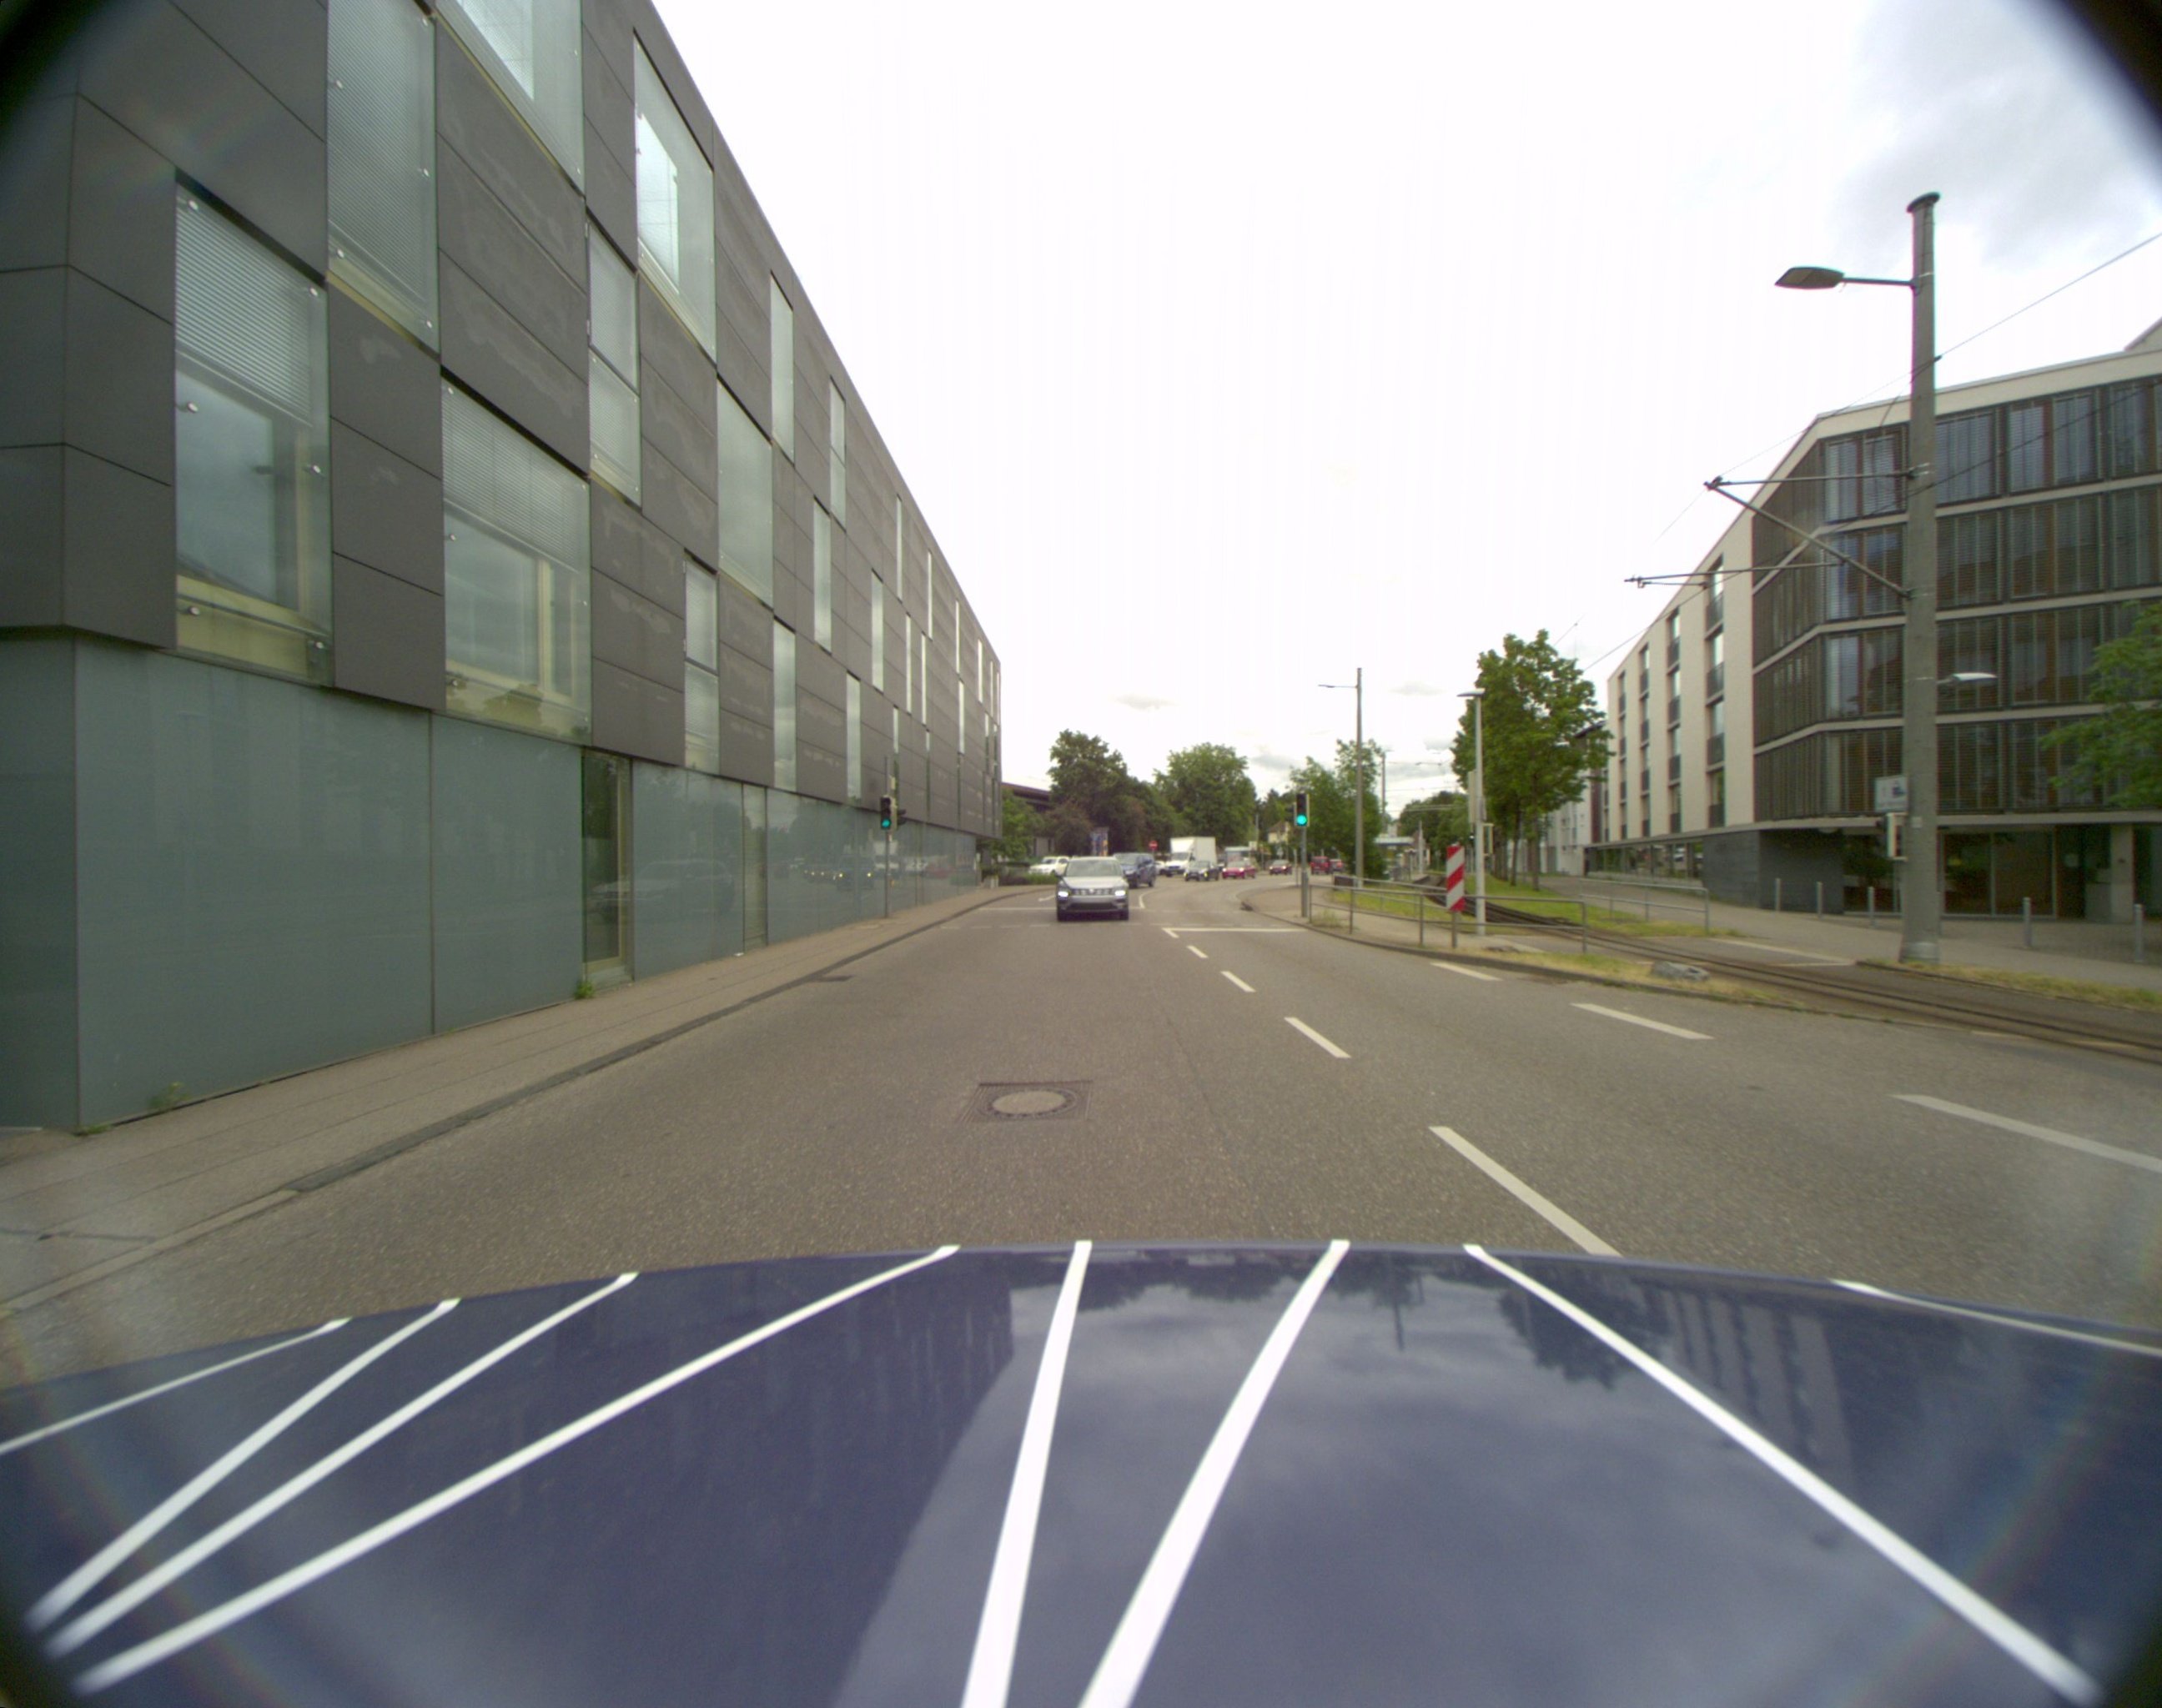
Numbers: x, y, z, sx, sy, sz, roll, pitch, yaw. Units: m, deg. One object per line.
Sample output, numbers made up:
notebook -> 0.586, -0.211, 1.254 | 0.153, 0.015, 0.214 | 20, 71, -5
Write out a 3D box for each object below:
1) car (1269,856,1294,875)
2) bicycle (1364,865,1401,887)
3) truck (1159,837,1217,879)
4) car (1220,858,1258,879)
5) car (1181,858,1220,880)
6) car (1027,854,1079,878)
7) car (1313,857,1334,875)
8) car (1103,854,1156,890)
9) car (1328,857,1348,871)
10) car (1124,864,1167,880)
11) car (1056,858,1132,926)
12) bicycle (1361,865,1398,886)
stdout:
car -> 20.436, 1.158, 77.488 | 1.846, 1.850, 4.265 | 0, 0, 23
bicycle -> 15.728, 1.132, 39.619 | 1.707, 1.082, 0.408 | -2, -1, 15
truck -> 9.412, 0.309, 66.038 | 2.536, 3.406, 7.790 | -1, 0, 28
car -> 12.641, 1.170, 60.756 | 1.846, 1.525, 4.008 | 1, -1, 28
car -> 8.668, 1.029, 55.002 | 1.846, 1.525, 4.007 | 0, 0, 23
car -> -2.017, 0.873, 56.624 | 1.853, 1.747, 4.731 | -1, 0, 27
car -> 24.988, 1.240, 78.261 | 1.682, 1.798, 4.359 | 1, 0, 22
car -> 2.657, 0.940, 40.758 | 1.847, 1.850, 4.006 | 0, 0, 20
car -> 28.603, 1.130, 84.449 | 1.769, 1.470, 4.007 | 1, 0, 22
car -> 6.316, 1.768, 74.334 | 3.999, 1.401, 1.524 | -2, 0, -5
car -> 0.394, 0.934, 20.487 | 1.811, 1.637, 4.331 | -1, 0, 2
bicycle -> 16.055, 1.162, 40.854 | 1.750, 1.040, 0.409 | -2, -1, 29
